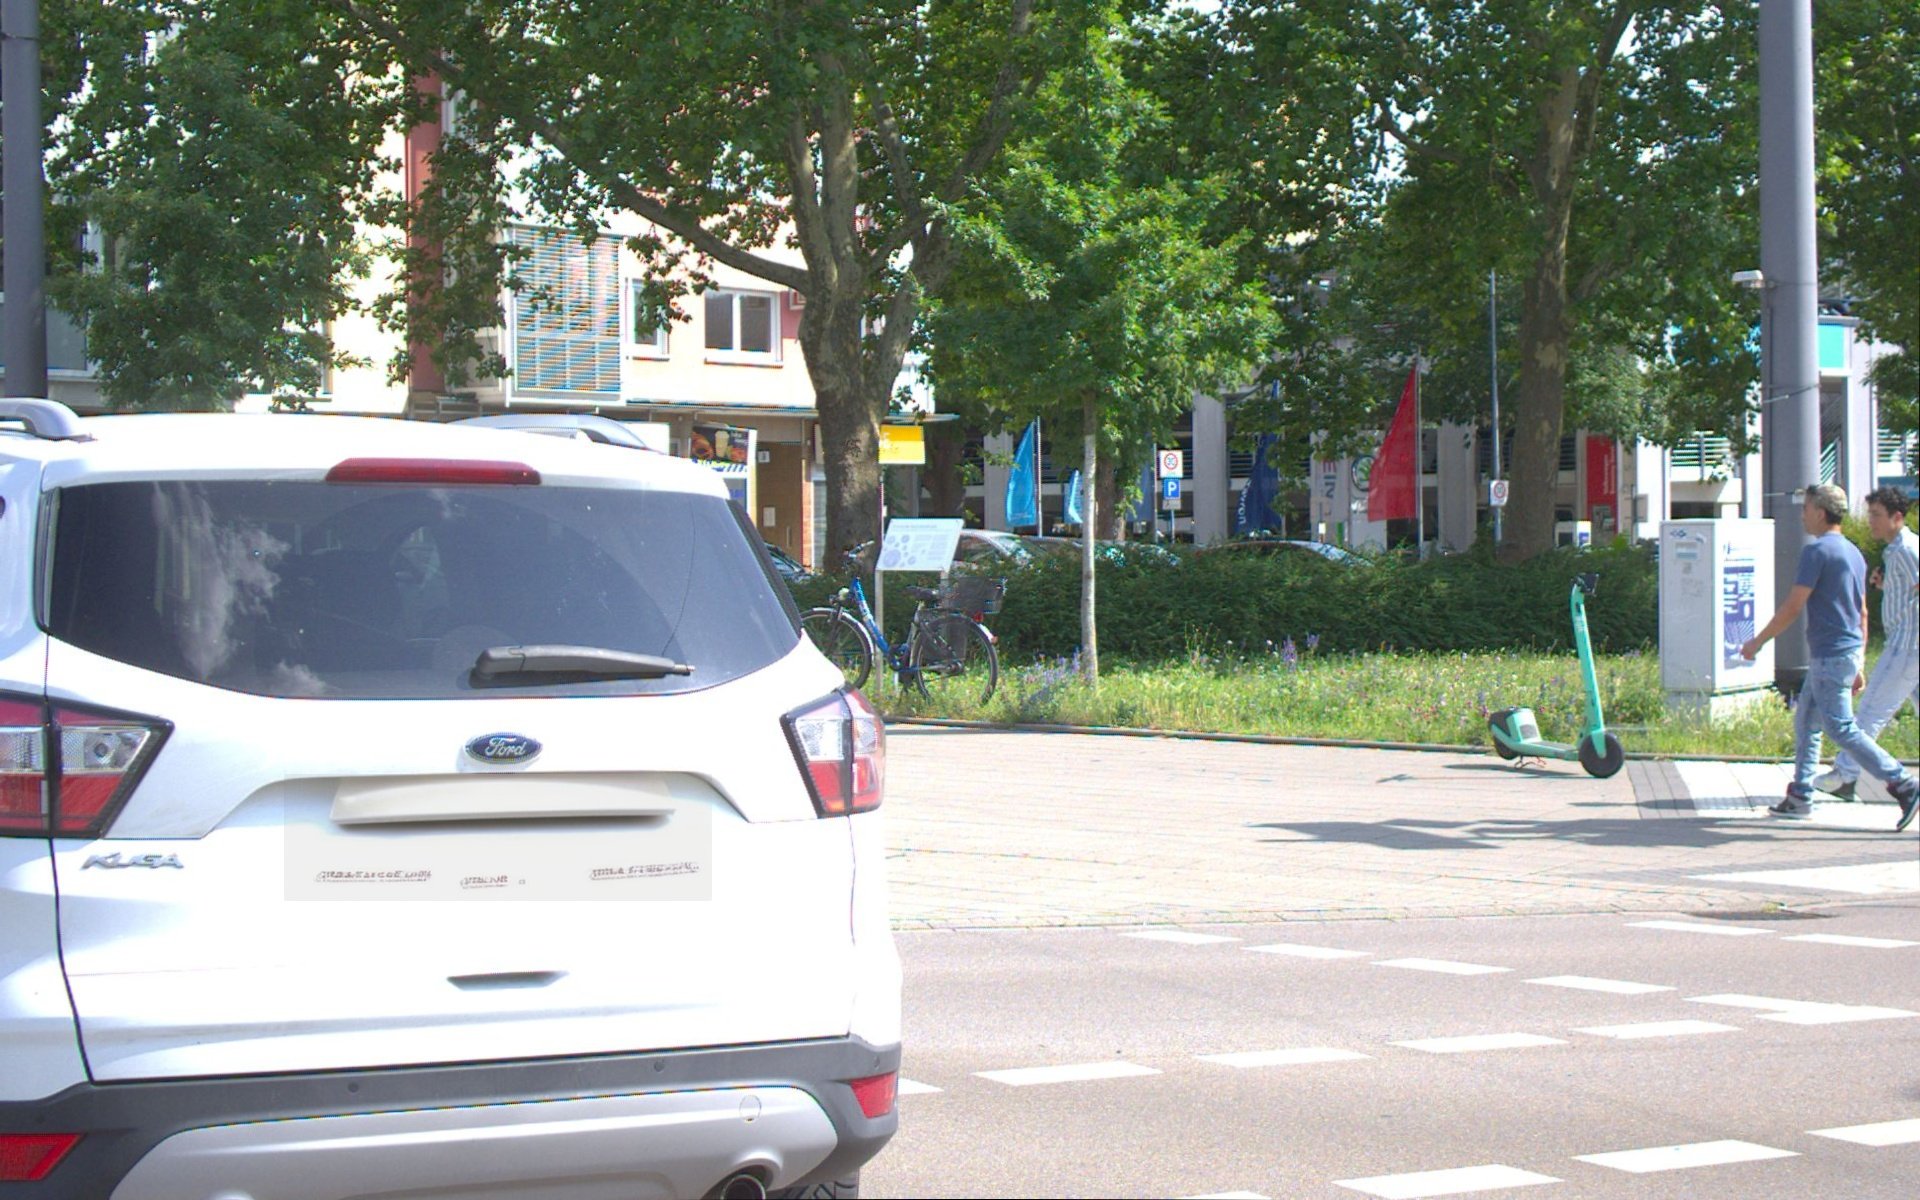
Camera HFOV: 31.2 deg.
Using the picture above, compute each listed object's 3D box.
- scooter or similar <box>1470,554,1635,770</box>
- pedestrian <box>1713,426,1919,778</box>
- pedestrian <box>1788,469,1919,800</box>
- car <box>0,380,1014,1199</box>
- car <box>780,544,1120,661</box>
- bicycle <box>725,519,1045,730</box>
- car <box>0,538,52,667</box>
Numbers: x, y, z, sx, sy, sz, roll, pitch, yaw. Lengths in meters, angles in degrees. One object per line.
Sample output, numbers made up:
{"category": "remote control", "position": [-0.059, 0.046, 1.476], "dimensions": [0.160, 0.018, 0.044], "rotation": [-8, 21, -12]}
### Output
{"category": "scooter or similar", "position": [3.451, 0.349, 20.107], "dimensions": [0.398, 1.189, 1.175], "rotation": [0, 2, -19]}
{"category": "pedestrian", "position": [4.392, -0.008, 17.540], "dimensions": [0.925, 1.737, 0.588], "rotation": [2, 2, 24]}
{"category": "pedestrian", "position": [5.025, 0.176, 18.558], "dimensions": [0.925, 1.737, 0.588], "rotation": [2, 2, 26]}
{"category": "car", "position": [-1.636, 0.495, 6.900], "dimensions": [1.827, 1.658, 3.956], "rotation": [-1, 1, -27]}
{"category": "car", "position": [-0.157, 0.029, 40.594], "dimensions": [3.997, 1.322, 1.629], "rotation": [0, 0, 43]}
{"category": "bicycle", "position": [-0.541, 0.145, 24.407], "dimensions": [2.172, 1.409, 0.811], "rotation": [1, 3, 30]}
{"category": "car", "position": [-12.122, 0.004, 38.019], "dimensions": [3.993, 1.393, 1.670], "rotation": [1, 1, 30]}
